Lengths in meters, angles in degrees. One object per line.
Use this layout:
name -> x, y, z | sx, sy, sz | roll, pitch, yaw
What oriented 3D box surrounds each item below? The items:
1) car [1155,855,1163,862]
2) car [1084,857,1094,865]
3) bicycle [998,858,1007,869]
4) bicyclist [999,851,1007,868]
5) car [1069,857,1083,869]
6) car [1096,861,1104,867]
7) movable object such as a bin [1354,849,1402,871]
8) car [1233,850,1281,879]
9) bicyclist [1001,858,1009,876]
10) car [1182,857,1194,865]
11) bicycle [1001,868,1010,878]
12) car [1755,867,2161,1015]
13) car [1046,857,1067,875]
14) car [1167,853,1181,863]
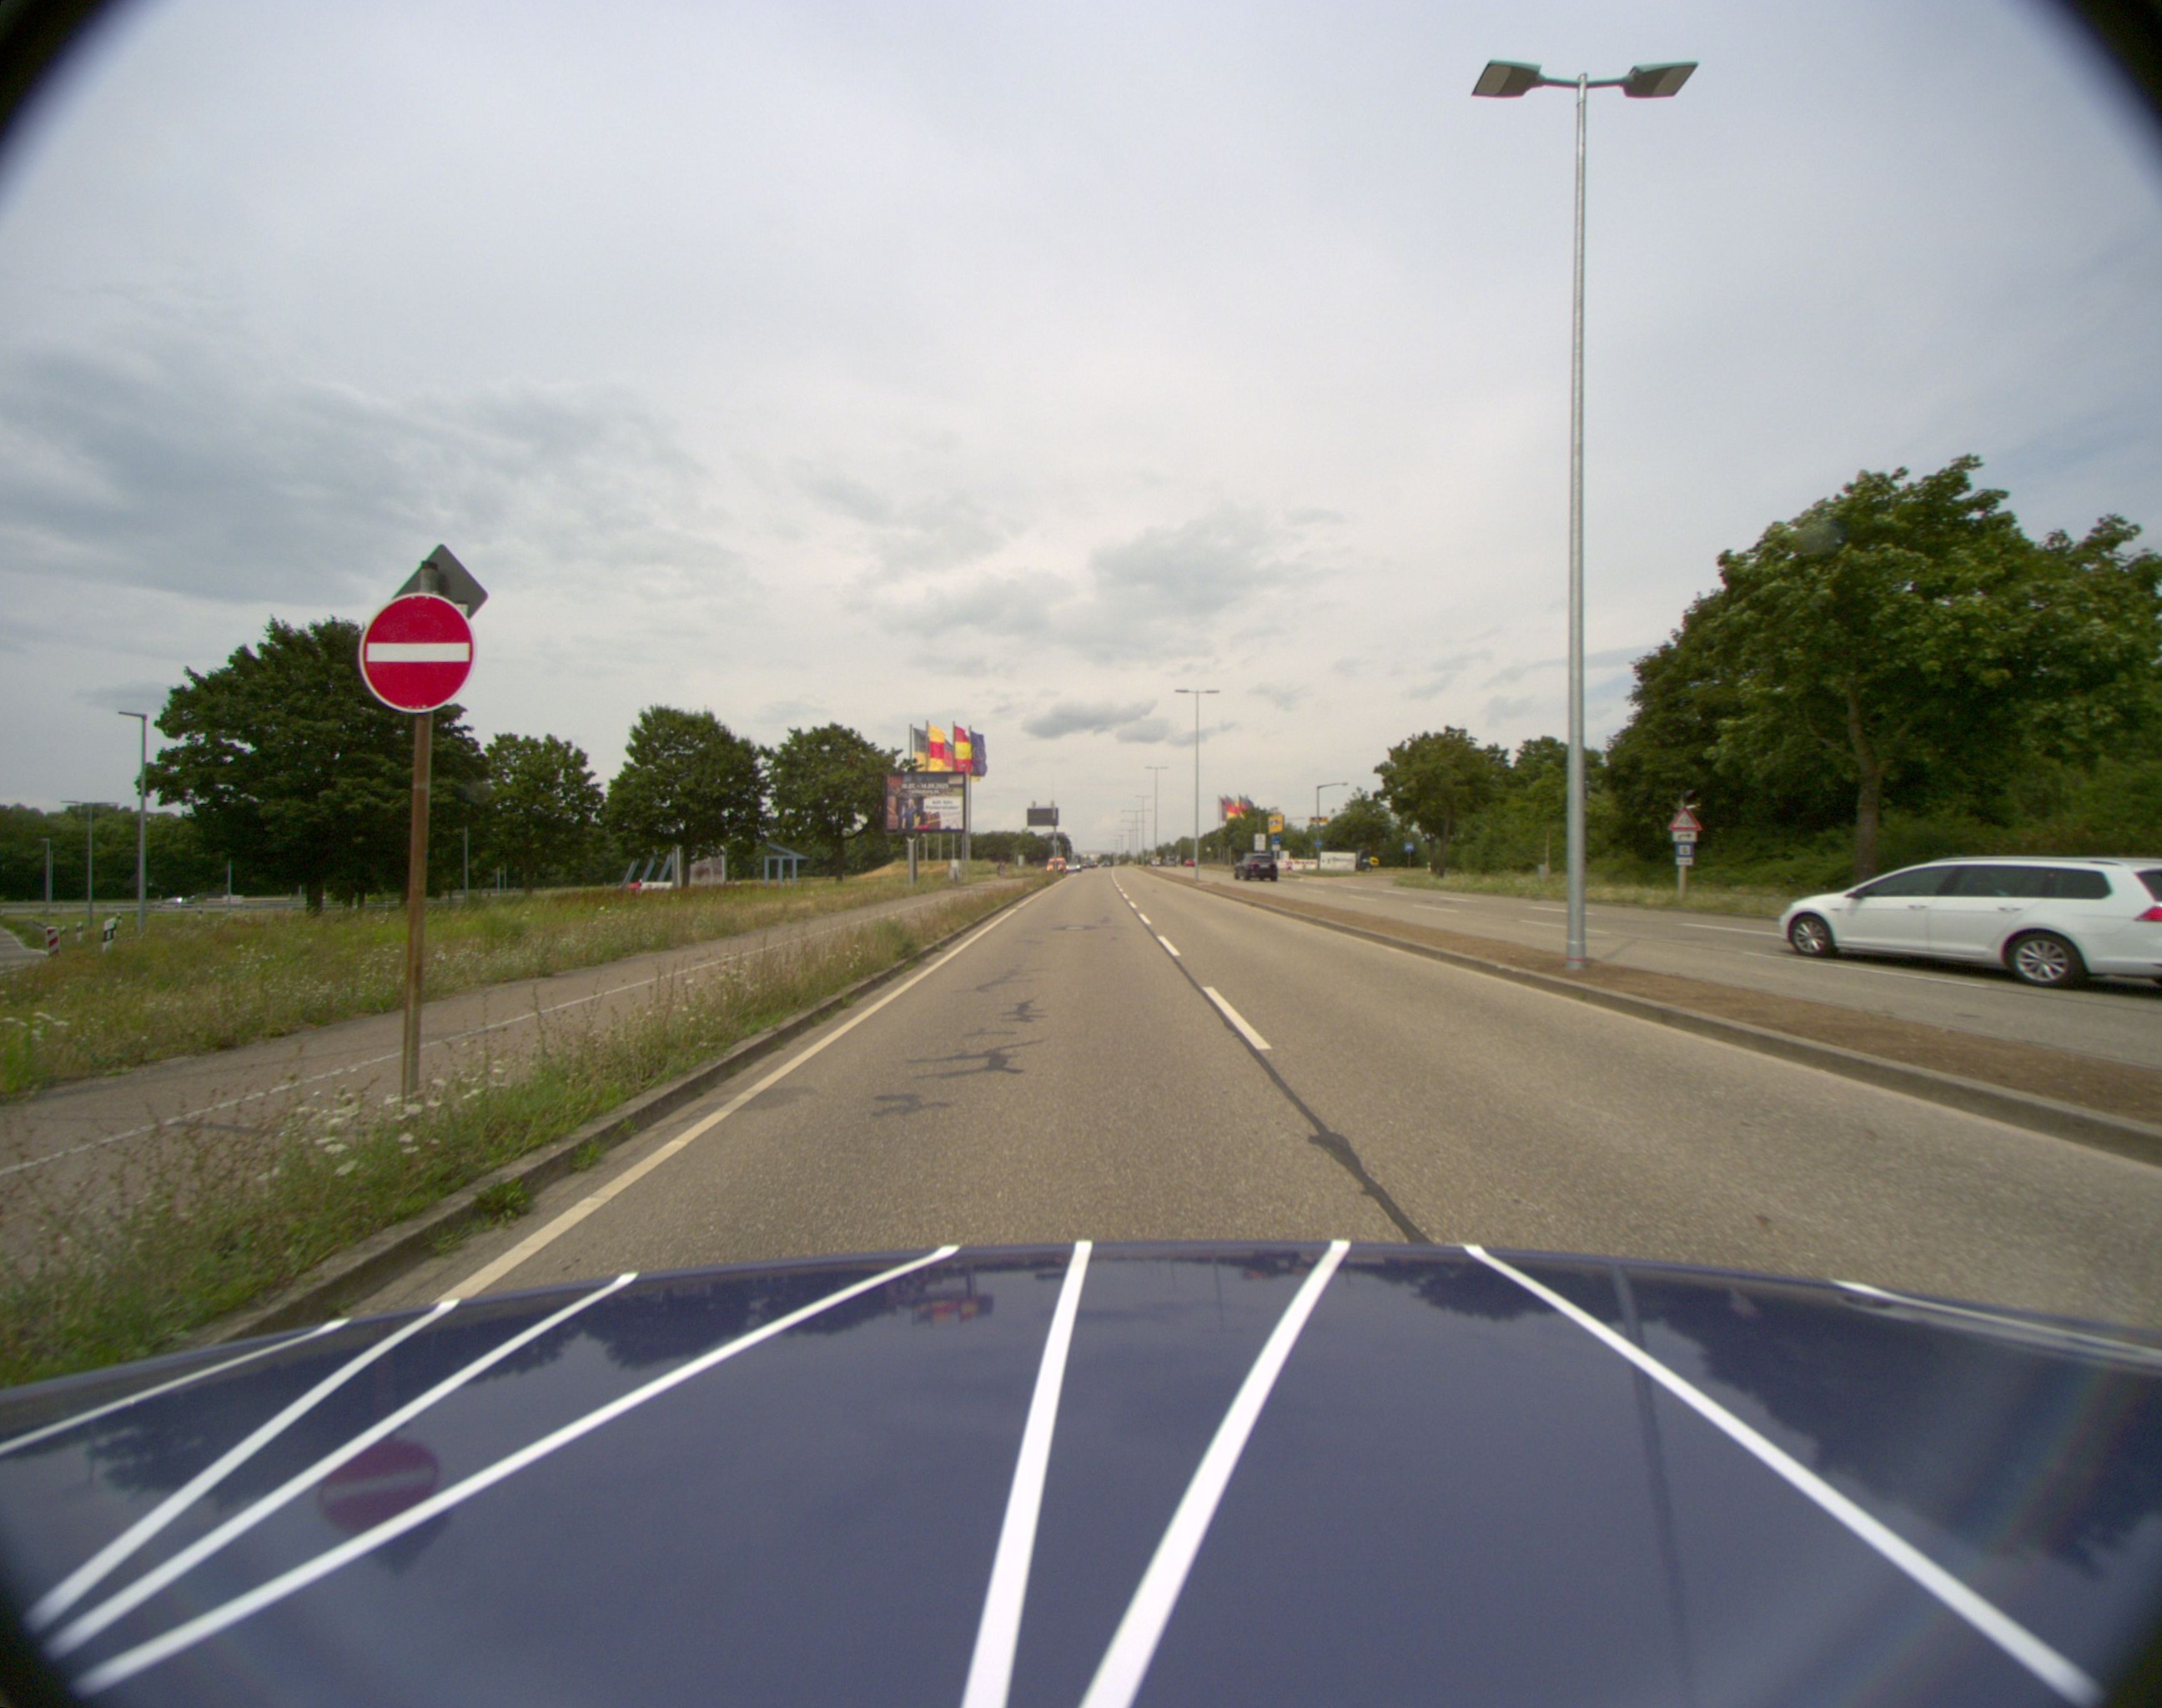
car -> 19.495, 1.026, 190.029 | 1.698, 1.619, 4.385 | -1, -1, 2
car -> 1.322, 1.173, 128.754 | 1.558, 1.229, 3.470 | -2, -1, 1
bicycle -> -8.263, 1.011, 80.082 | 0.695, 1.185, 2.461 | 0, -1, 0
bicyclist -> -8.259, 0.559, 80.120 | 0.705, 1.745, 0.991 | -1, 0, 0
car -> -0.637, 1.167, 93.310 | 1.695, 1.403, 3.684 | -2, -1, -1
car -> 3.801, 2.035, 153.741 | 1.558, 1.229, 3.470 | -2, -1, 1
movable object such as a bin -> 33.873, 0.717, 86.682 | 4.593, 2.382, 1.999 | -1, -1, -9
car -> 11.321, 0.726, 49.267 | 1.999, 1.800, 4.798 | 0, -1, 0
bicyclist -> -7.127, 1.253, 71.651 | 0.623, 1.656, 0.669 | 2, -1, 0
car -> 19.902, 1.287, 141.184 | 1.758, 1.314, 4.348 | -1, -1, 3
bicycle -> -7.121, 1.778, 72.063 | 0.625, 0.883, 2.154 | -1, 0, 0
car -> 11.489, 0.881, 9.520 | 1.998, 1.422, 4.689 | 0, -1, 1
car -> -2.596, 1.264, 81.473 | 1.892, 1.824, 4.431 | -2, -1, 1
car -> 17.054, 0.701, 139.615 | 1.907, 1.798, 4.541 | -1, -1, 1
